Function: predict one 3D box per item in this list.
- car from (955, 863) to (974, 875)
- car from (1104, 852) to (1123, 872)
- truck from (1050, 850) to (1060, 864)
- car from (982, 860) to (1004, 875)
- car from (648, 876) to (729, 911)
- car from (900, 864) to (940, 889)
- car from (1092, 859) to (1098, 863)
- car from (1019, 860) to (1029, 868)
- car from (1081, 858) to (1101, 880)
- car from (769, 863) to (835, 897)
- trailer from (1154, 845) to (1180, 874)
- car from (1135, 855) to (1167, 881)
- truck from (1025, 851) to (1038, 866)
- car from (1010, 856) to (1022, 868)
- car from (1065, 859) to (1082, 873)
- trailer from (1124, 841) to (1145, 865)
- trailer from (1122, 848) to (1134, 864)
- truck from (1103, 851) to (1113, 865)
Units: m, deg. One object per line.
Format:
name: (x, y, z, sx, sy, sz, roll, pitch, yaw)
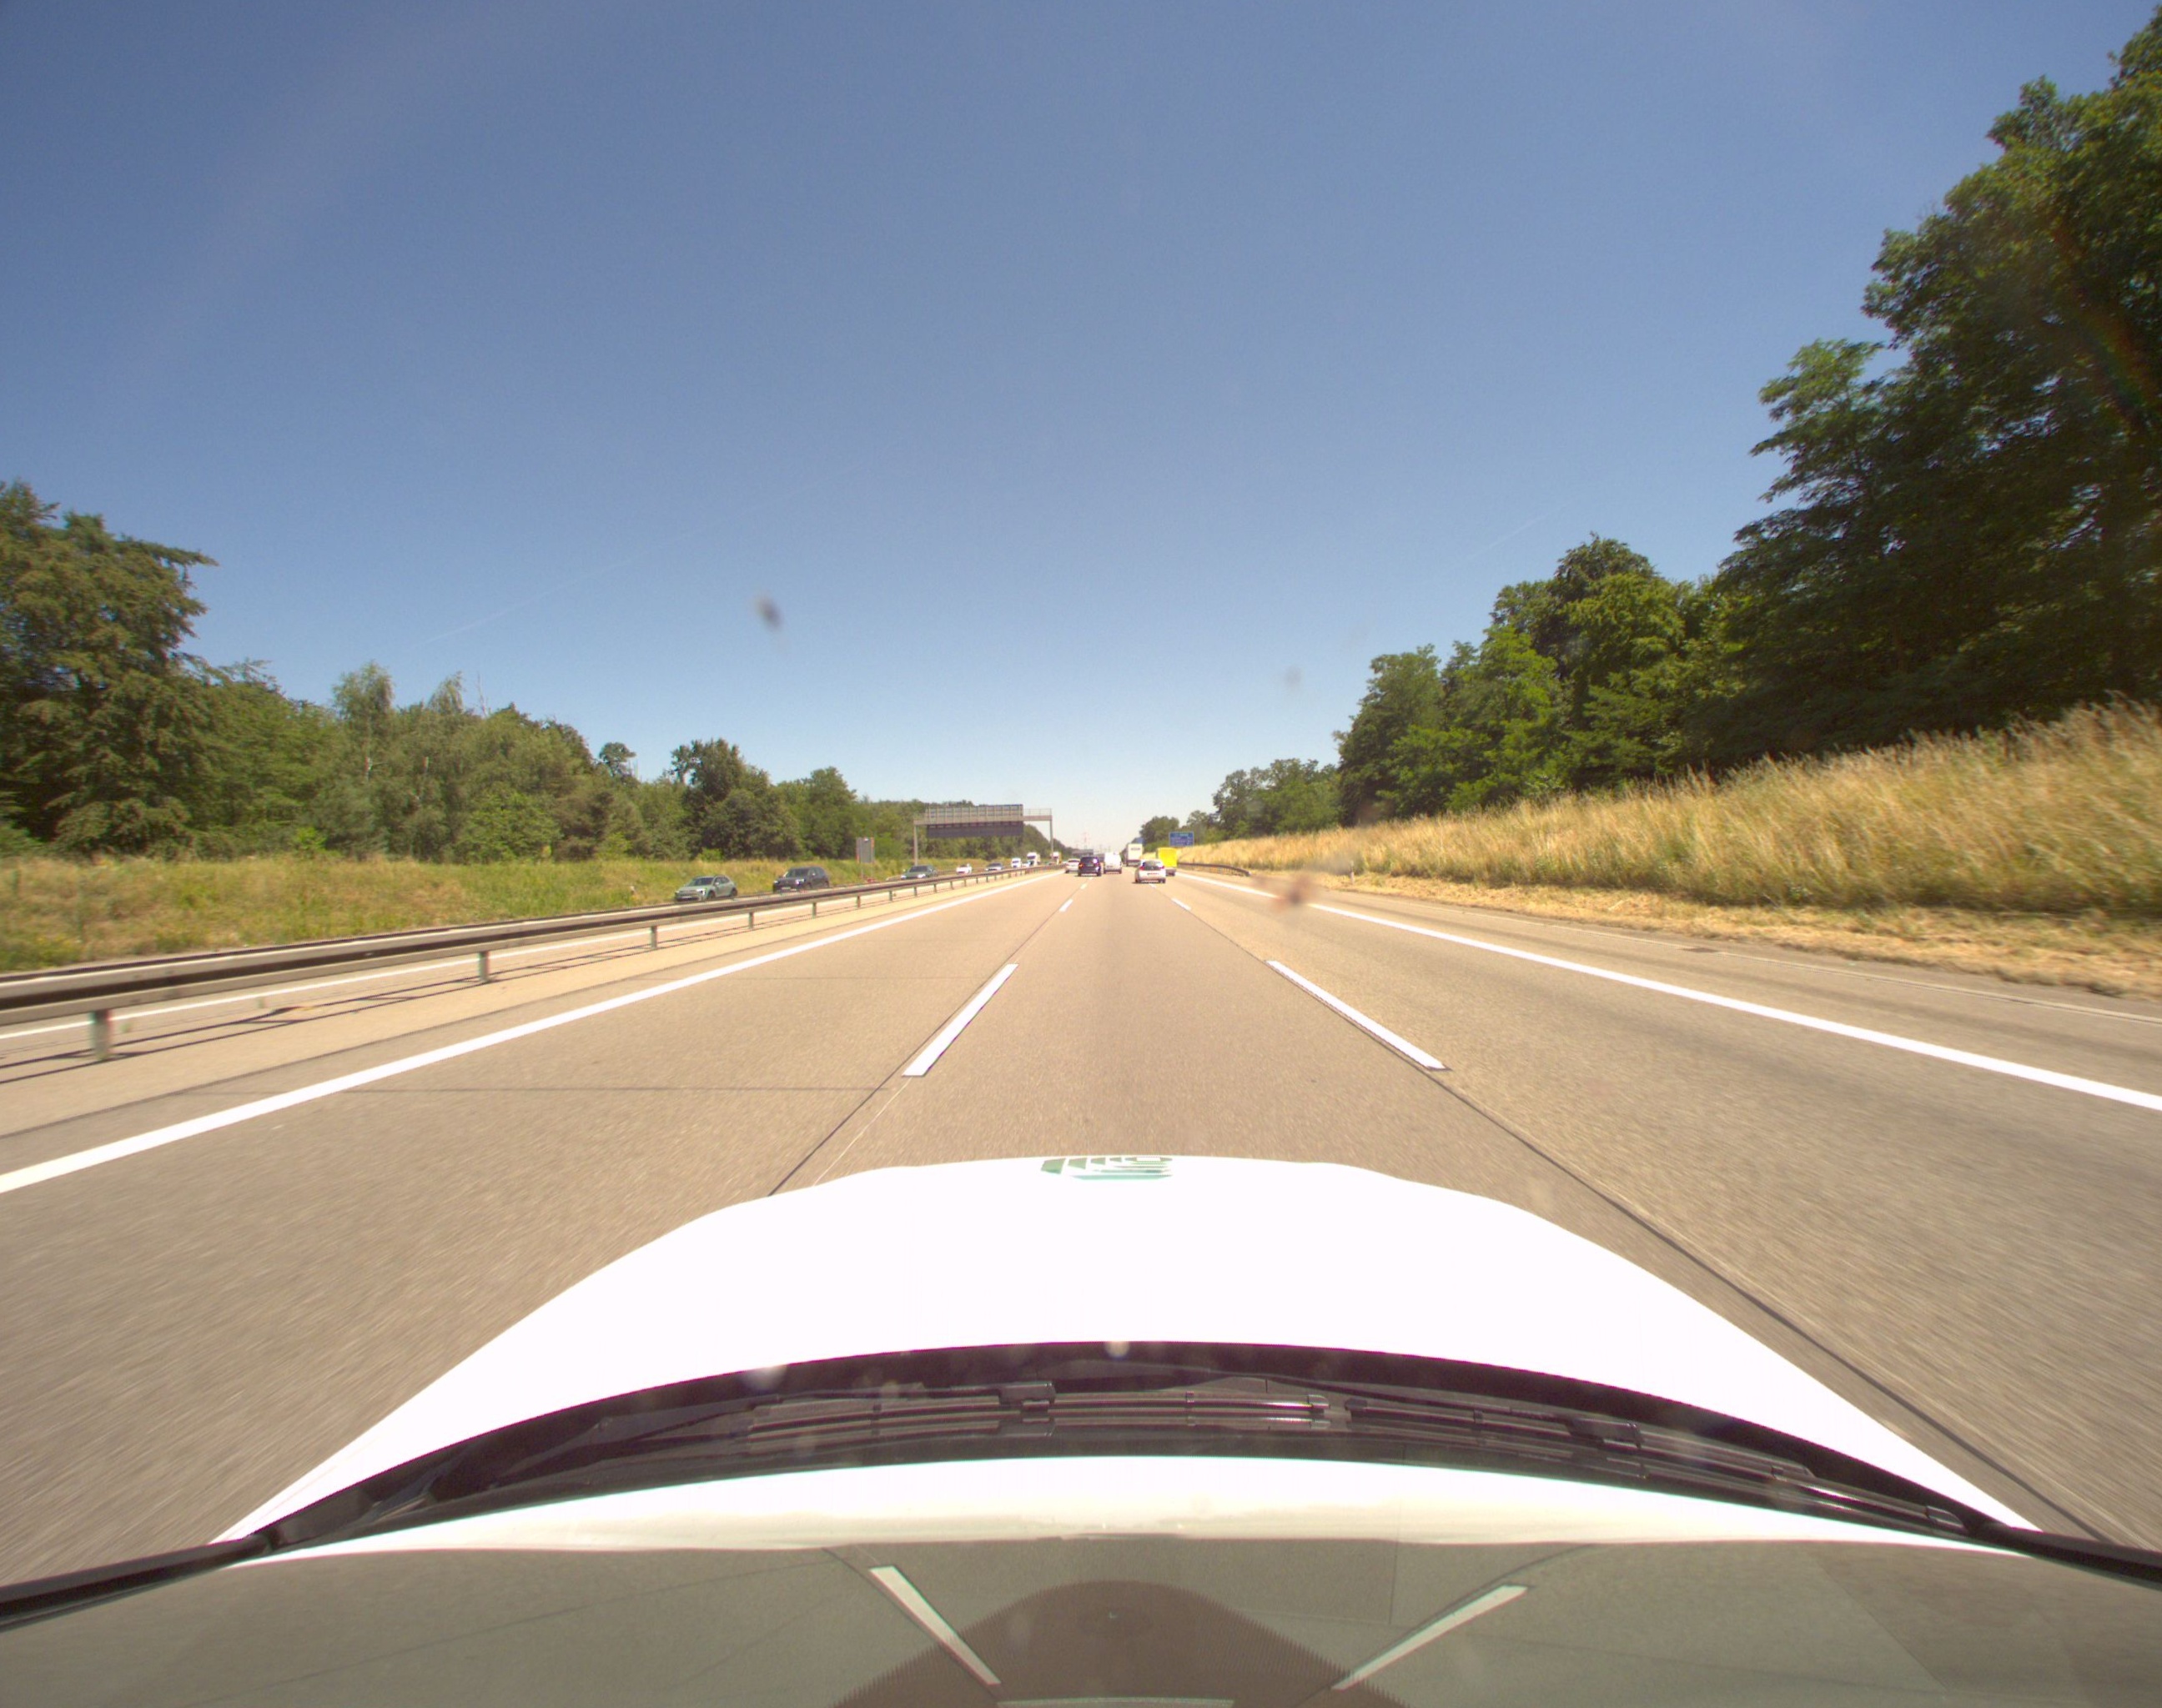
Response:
car: (-16.450, 2.044, 114.982, 1.788, 1.516, 4.905, -4, 0, 1)
car: (3.145, 0.764, 79.599, 1.807, 1.827, 5.112, -2, -1, 2)
truck: (-7.979, 0.910, 250.176, 2.455, 4.072, 6.290, -4, 0, 2)
car: (-10.015, 1.497, 93.091, 1.788, 1.474, 4.988, -4, 0, 1)
car: (-19.532, 1.939, 40.776, 1.665, 1.410, 4.599, -4, 0, 1)
car: (-10.940, 1.509, 55.644, 1.692, 1.429, 4.575, -4, 0, 1)
car: (3.832, 1.941, 220.777, 1.400, 1.131, 3.360, -1, 0, 2)
car: (-11.234, 1.941, 160.798, 1.641, 1.499, 4.562, -4, 0, 1)
car: (0.862, 1.246, 69.087, 1.620, 1.755, 3.806, -1, 0, 2)
car: (-15.473, 1.398, 45.449, 1.788, 1.618, 4.987, -4, 0, 1)
trailer: (7.016, 0.438, 66.740, 1.697, 2.289, 3.840, -1, -1, 1)
car: (4.156, 0.824, 49.080, 1.702, 1.495, 4.025, -1, 0, 2)
truck: (-13.564, 1.216, 224.608, 2.615, 3.948, 6.485, -4, 0, 2)
car: (-14.349, 1.754, 180.933, 1.980, 2.340, 5.811, -4, 0, 1)
car: (-0.796, 1.229, 85.031, 1.663, 1.401, 3.713, -2, 0, 1)
trailer: (9.460, -0.108, 146.259, 3.273, 4.219, 13.569, 0, -1, 2)
trailer: (11.597, 0.445, 203.137, 2.673, 3.837, 12.013, 0, -1, 2)
truck: (5.723, 0.954, 175.487, 2.052, 2.914, 7.005, -1, -1, 2)
